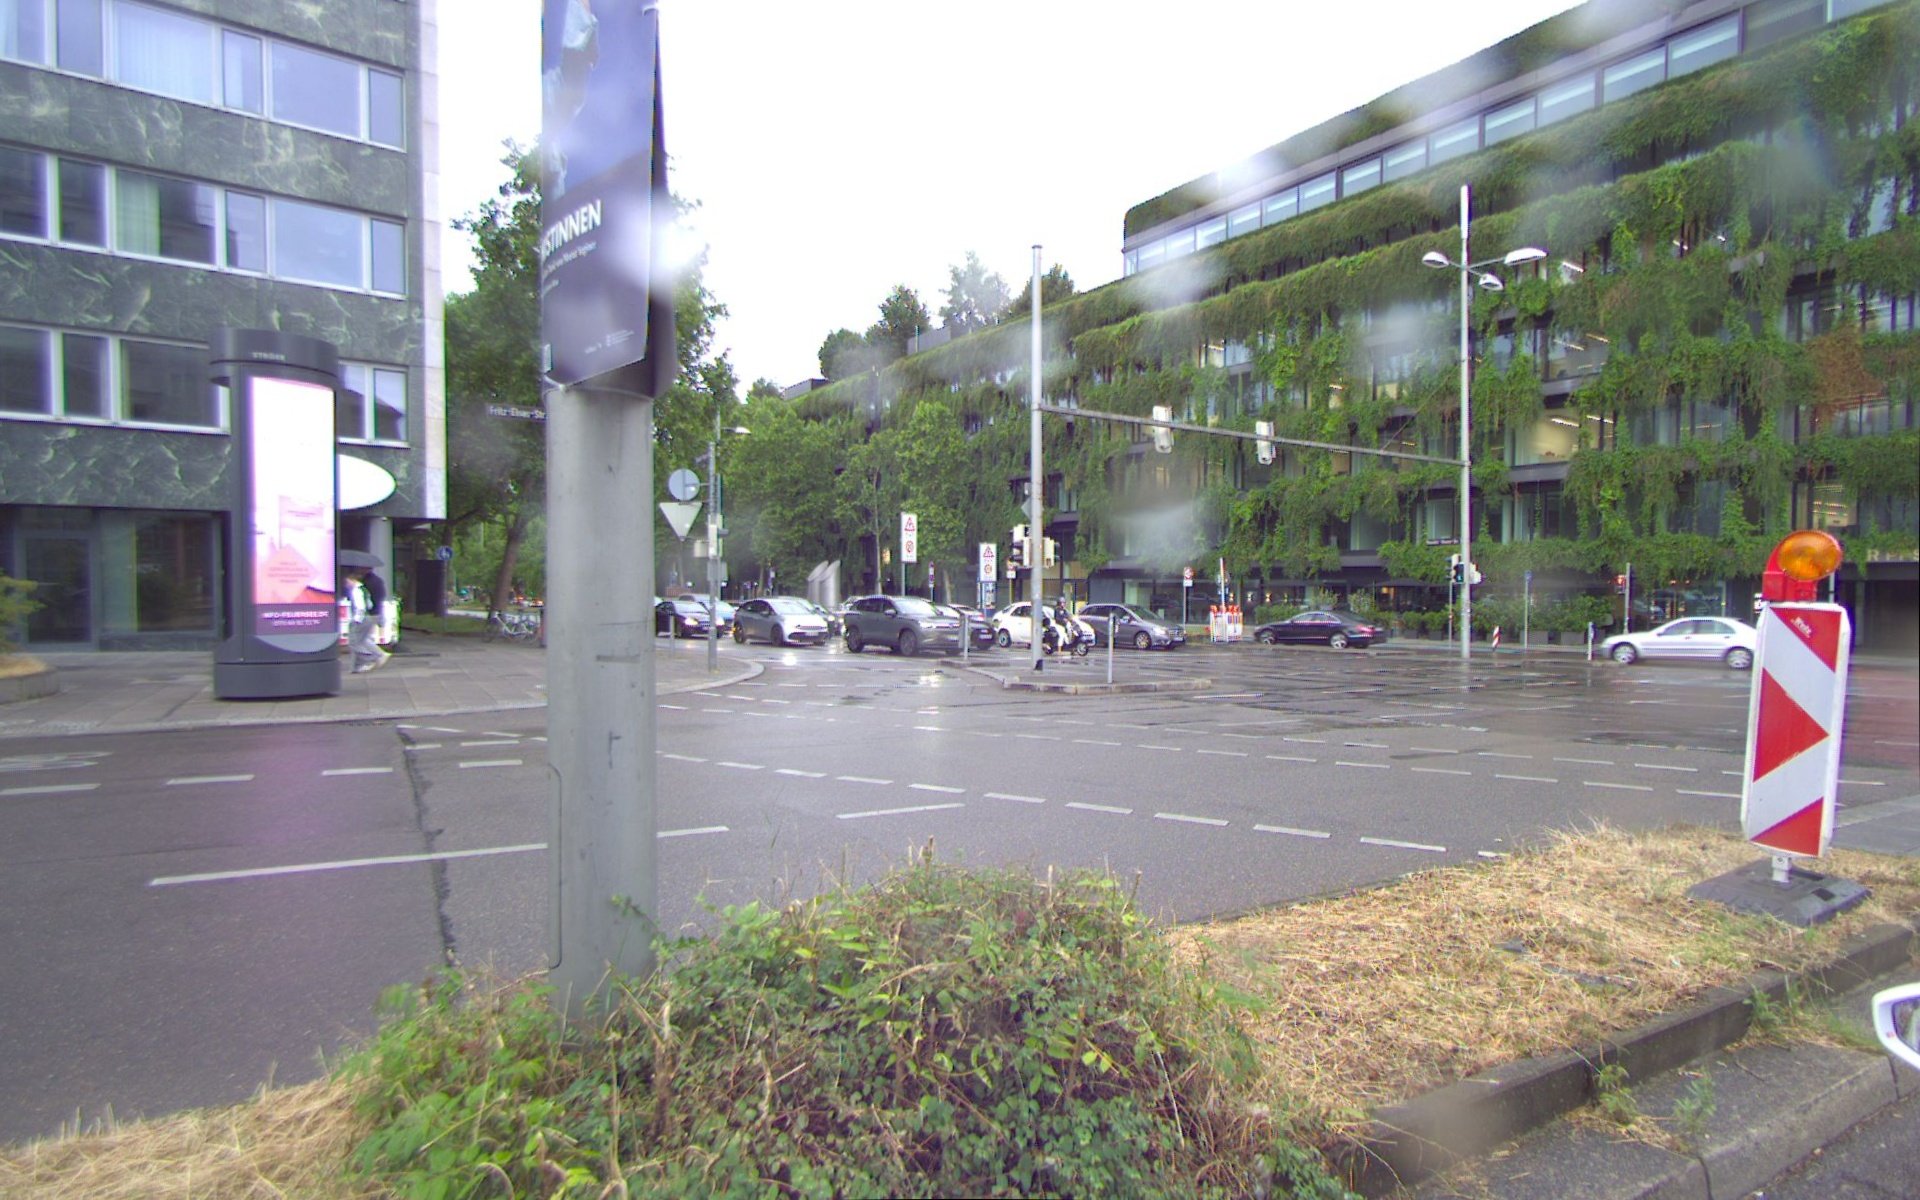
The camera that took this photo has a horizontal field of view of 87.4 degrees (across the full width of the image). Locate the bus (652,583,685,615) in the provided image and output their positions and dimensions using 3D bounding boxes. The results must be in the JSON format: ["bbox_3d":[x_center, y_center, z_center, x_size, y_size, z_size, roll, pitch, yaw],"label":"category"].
[{"bbox_3d":[-32.018,-0.158,110.226,1.783,3.385,5.922,2,0,-34],"label":"bus"}]

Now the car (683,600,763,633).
[{"bbox_3d":[-10.671,0.697,45.016,1.982,1.389,4.131,1,0,-37],"label":"car"}]

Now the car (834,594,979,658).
[{"bbox_3d":[-1.623,0.700,29.179,1.984,1.709,4.314,1,0,-41],"label":"car"}]

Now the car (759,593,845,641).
[{"bbox_3d":[-6.287,0.650,39.663,1.841,1.791,4.139,1,0,-32],"label":"car"}]

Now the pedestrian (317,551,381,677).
[{"bbox_3d":[-10.163,0.232,16.718,0.715,2.040,0.598,1,0,-10],"label":"pedestrian"}]

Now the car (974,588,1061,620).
[{"bbox_3d":[3.040,0.200,53.802,1.799,1.532,4.636,2,0,-45],"label":"car"}]

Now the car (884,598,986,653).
[{"bbox_3d":[-1.006,0.911,37.758,1.978,1.923,4.139,1,0,-33],"label":"car"}]

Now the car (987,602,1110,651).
[{"bbox_3d":[2.877,0.855,33.459,1.981,1.495,3.958,1,0,-37],"label":"car"}]

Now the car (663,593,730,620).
[{"bbox_3d":[-13.925,0.335,52.918,1.982,1.389,4.131,1,0,-37],"label":"car"}]

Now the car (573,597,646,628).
[{"bbox_3d":[-16.184,0.555,46.231,1.982,1.389,4.131,1,0,-37],"label":"car"}]

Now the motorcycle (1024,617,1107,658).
[{"bbox_3d":[3.036,1.067,29.066,2.331,1.068,0.830,2,0,41],"label":"motorcycle"}]

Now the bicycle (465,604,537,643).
[{"bbox_3d":[-12.972,0.663,28.405,1.765,1.066,0.581,1,0,-35],"label":"bicycle"}]

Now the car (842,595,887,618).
[{"bbox_3d":[-7.363,0.486,77.240,1.783,1.588,3.962,2,0,-34],"label":"car"}]

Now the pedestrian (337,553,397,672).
[{"bbox_3d":[-10.351,0.223,17.550,0.715,2.040,0.598,1,0,-10],"label":"pedestrian"}]

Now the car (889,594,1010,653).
[{"bbox_3d":[-0.398,0.707,32.555,1.981,1.773,3.958,1,0,-37],"label":"car"}]

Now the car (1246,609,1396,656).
[{"bbox_3d":[13.256,1.179,37.102,1.987,1.496,4.800,3,-1,-43],"label":"car"}]

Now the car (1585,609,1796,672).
[{"bbox_3d":[20.988,1.091,29.006,1.986,1.497,4.672,-4,3,-44],"label":"car"}]

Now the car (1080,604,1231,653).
[{"bbox_3d":[6.623,0.932,34.404,4.842,1.508,1.922,1,0,45],"label":"car"}]

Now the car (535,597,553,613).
[{"bbox_3d":[-57.202,0.637,138.149,1.975,2.040,3.972,2,0,-27],"label":"car"}]

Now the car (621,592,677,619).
[{"bbox_3d":[-18.680,0.330,60.202,1.918,1.544,4.057,1,0,-38],"label":"car"}]

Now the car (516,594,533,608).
[{"bbox_3d":[-62.756,0.131,144.775,1.975,2.040,3.972,1,0,-27],"label":"car"}]

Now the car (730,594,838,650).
[{"bbox_3d":[-6.014,0.697,34.029,1.982,1.773,3.956,1,0,-38],"label":"car"}]

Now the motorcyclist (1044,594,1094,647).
[{"bbox_3d":[3.139,0.580,28.987,1.153,1.492,0.832,2,0,40],"label":"motorcyclist"}]

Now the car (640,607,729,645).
[{"bbox_3d":[-10.897,1.002,39.618,1.982,1.389,4.131,1,0,-37],"label":"car"}]

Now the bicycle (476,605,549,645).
[{"bbox_3d":[-12.293,0.679,27.627,1.765,1.066,0.581,1,0,-35],"label":"bicycle"}]
